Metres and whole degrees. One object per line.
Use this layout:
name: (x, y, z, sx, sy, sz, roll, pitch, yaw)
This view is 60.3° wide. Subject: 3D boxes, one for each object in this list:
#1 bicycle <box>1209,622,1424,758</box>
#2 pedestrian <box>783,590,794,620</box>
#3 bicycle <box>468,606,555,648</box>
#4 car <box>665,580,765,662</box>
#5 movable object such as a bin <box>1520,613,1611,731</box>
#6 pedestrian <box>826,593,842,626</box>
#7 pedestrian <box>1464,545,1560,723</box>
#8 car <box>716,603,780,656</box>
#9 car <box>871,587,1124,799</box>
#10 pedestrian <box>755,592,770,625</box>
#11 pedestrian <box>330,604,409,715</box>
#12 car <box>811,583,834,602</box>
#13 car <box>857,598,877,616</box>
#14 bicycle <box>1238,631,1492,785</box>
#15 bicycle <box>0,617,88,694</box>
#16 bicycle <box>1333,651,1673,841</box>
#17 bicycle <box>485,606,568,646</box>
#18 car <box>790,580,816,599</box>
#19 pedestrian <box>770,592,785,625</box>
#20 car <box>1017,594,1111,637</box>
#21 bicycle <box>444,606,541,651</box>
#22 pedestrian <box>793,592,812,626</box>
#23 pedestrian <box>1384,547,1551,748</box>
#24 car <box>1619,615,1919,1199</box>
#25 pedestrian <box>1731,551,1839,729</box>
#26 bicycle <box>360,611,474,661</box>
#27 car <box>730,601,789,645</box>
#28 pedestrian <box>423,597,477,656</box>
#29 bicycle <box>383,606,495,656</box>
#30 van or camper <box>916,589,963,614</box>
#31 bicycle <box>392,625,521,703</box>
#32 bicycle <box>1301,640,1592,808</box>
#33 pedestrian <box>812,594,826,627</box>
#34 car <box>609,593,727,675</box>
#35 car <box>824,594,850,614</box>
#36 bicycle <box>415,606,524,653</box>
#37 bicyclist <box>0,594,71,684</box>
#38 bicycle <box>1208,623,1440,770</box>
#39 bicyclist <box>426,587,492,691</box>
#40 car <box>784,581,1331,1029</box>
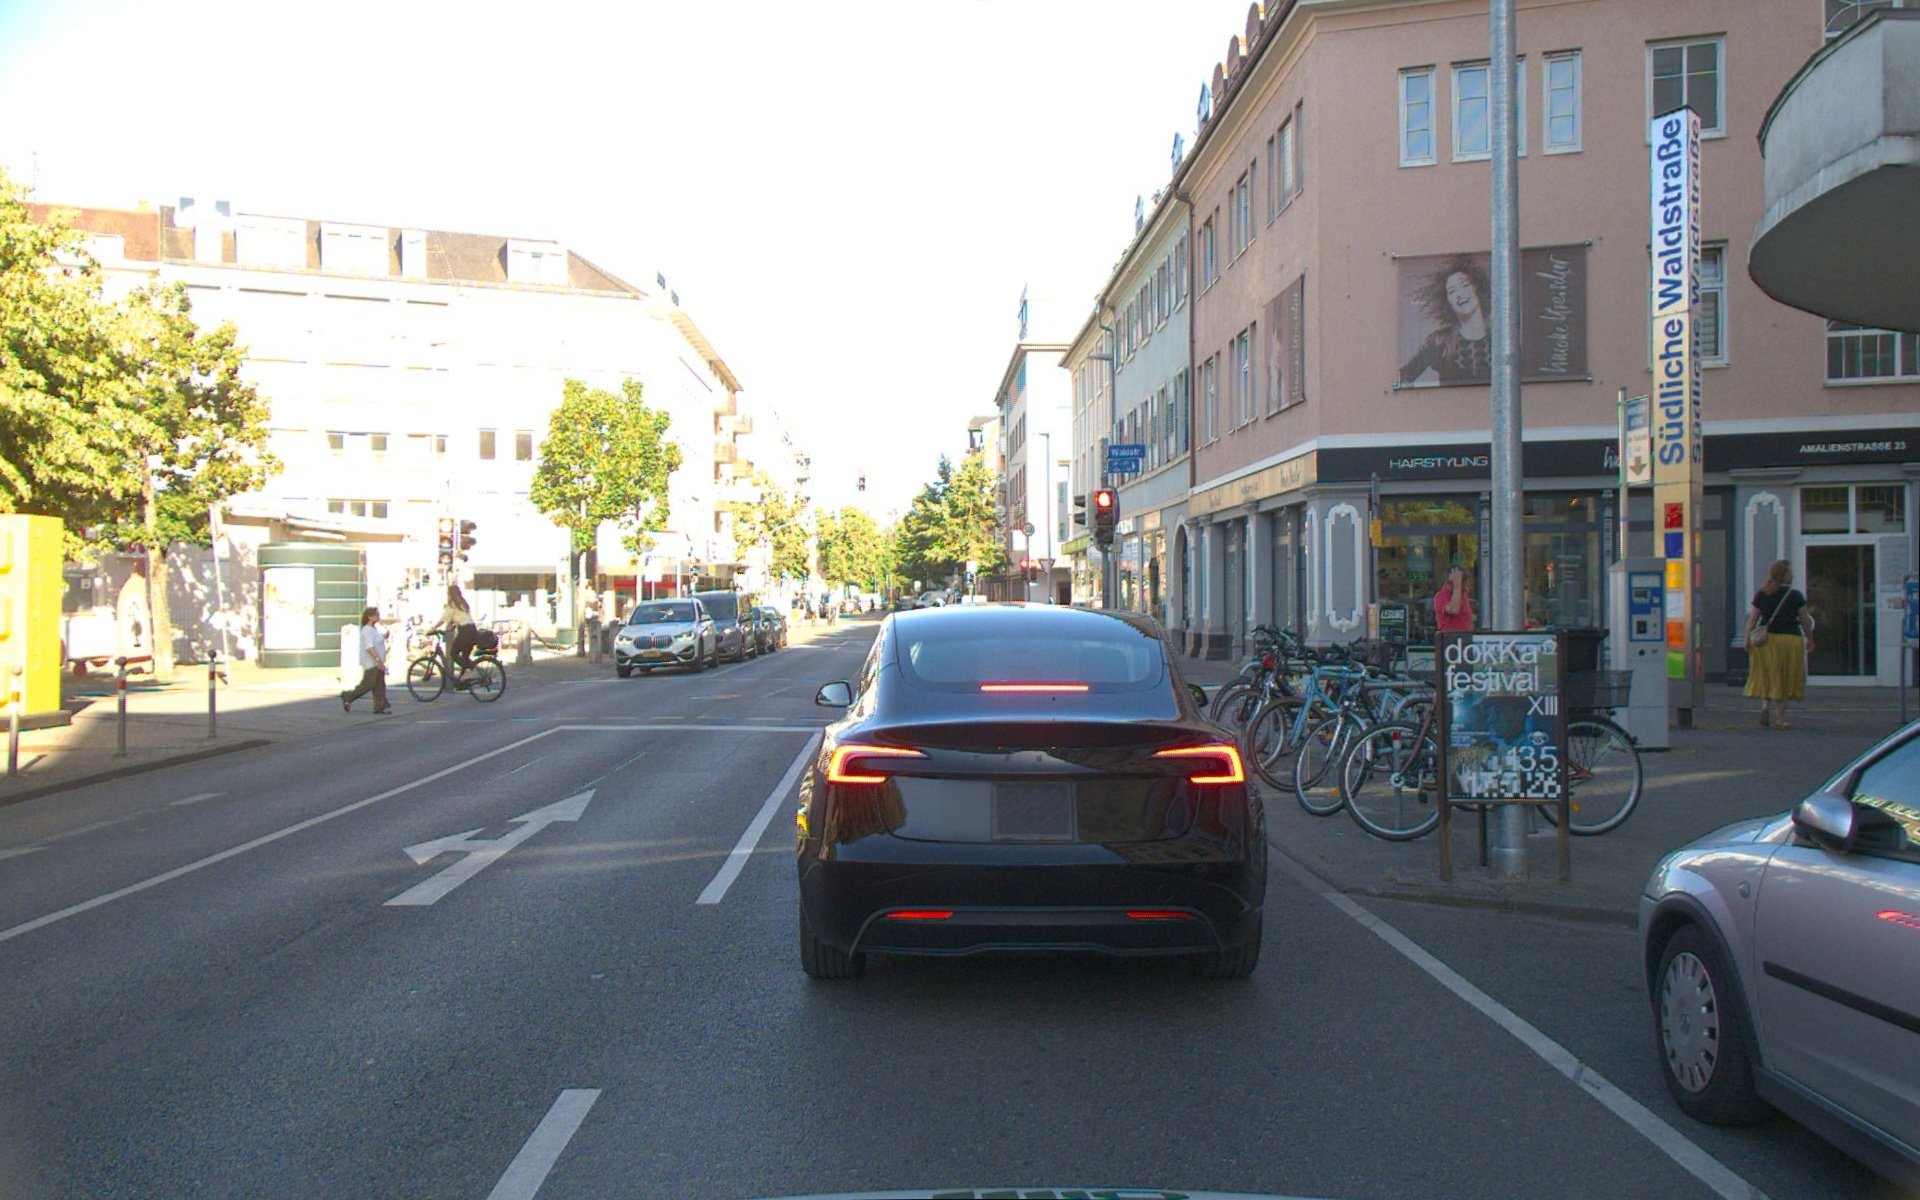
bicycle: (3.162, 0.789, 14.768, 1.776, 1.172, 0.653, 0, 0, 0)
pedestrian: (-10.765, 0.313, 103.706, 0.681, 1.900, 0.658, 1, -1, -6)
bicycle: (-14.061, 0.849, 51.908, 2.491, 1.273, 0.942, 1, 0, -4)
car: (-6.231, 0.505, 42.556, 1.906, 1.981, 4.819, 0, 0, -1)
movable object such as a bin: (6.041, 0.711, 16.533, 0.623, 1.122, 0.728, -2, 0, 3)
pedestrian: (-7.281, 0.549, 95.634, 0.761, 1.900, 1.005, 1, -1, -13)
pedestrian: (6.117, 0.371, 18.361, 0.667, 1.882, 0.893, -3, -1, 1)
car: (-6.335, 0.853, 49.682, 1.431, 1.455, 3.605, -3, 0, -1)
car: (0.243, 0.684, 14.187, 1.812, 1.507, 4.450, 1, 0, -1)
pedestrian: (-11.553, 0.480, 96.779, 0.721, 1.900, 0.787, 1, -1, -17)
pedestrian: (-8.528, 0.848, 23.929, 0.904, 1.570, 0.694, 1, -1, -6)
car: (-15.599, -0.814, 188.053, 2.228, 2.049, 4.717, 1, 0, 0)
car: (-10.499, 0.832, 186.957, 2.089, 2.004, 4.133, 0, 0, -1)
bicycle: (3.049, 0.803, 12.558, 1.776, 1.121, 0.653, 0, 0, 0)
bicycle: (-16.024, 0.940, 28.319, 1.952, 1.244, 0.630, 2, -2, 13)
bicycle: (3.278, 0.872, 10.082, 1.844, 1.062, 0.653, -1, 0, 0)
bicycle: (-14.227, 0.857, 54.330, 2.491, 1.273, 0.942, 1, 0, -4)
car: (-17.016, -1.127, 179.397, 2.228, 2.049, 4.717, 1, 0, 0)
pedestrian: (-10.668, 0.496, 96.894, 0.721, 1.900, 0.787, 1, -1, -17)
car: (4.713, 0.702, 74.732, 3.937, 1.900, 1.686, 0, 0, -22)
bicycle: (-14.009, 0.845, 49.634, 2.609, 1.281, 0.942, 1, 0, -4)
pedestrian: (-8.999, 0.515, 94.481, 0.719, 1.900, 0.790, 1, -1, 28)
pedestrian: (4.661, 0.414, 15.187, 1.053, 1.750, 1.095, 1, -1, -44)
car: (2.921, 0.779, 3.528, 1.551, 1.451, 3.579, 1, 0, -1)
pedestrian: (8.617, 0.411, 17.304, 0.706, 1.785, 0.788, -2, -1, 6)
bicycle: (-13.949, 0.924, 42.577, 2.607, 1.216, 0.942, 1, 0, -4)
car: (-6.824, 0.764, 56.626, 1.660, 1.414, 3.914, -1, 0, -3)
pedestrian: (-14.281, 0.737, 46.299, 1.247, 1.639, 1.087, 1, -1, -27)
bicycle: (-14.123, 0.843, 44.914, 2.725, 1.296, 0.932, 1, 0, -4)
van or camper: (-2.066, 0.173, 167.511, 4.752, 2.481, 1.850, 0, 0, -1)
bicycle: (-8.160, 1.031, 26.843, 1.912, 1.178, 0.576, -2, -1, 9)
bicycle: (3.249, 0.820, 11.154, 1.776, 1.078, 0.653, 0, 0, 0)
pedestrian: (-8.177, 0.596, 95.953, 0.683, 1.900, 0.907, 1, -1, -13)
car: (-6.323, 0.709, 36.228, 1.788, 1.592, 4.299, -3, 0, -1)
car: (-12.342, 0.397, 166.253, 2.365, 2.004, 4.677, 0, 0, -1)
bicycle: (-14.000, 0.830, 47.316, 2.818, 1.292, 0.942, 1, 0, -4)
bicyclist: (-15.849, 0.655, 28.292, 0.934, 1.510, 0.608, 1, -1, 15)
bicycle: (2.978, 0.781, 13.630, 1.776, 1.172, 0.653, 0, 0, 0)
bicyclist: (-8.129, 0.623, 26.845, 0.808, 1.642, 0.580, -2, 0, 9)
car: (0.299, 0.697, 7.762, 1.812, 1.472, 4.450, 1, 0, -1)
